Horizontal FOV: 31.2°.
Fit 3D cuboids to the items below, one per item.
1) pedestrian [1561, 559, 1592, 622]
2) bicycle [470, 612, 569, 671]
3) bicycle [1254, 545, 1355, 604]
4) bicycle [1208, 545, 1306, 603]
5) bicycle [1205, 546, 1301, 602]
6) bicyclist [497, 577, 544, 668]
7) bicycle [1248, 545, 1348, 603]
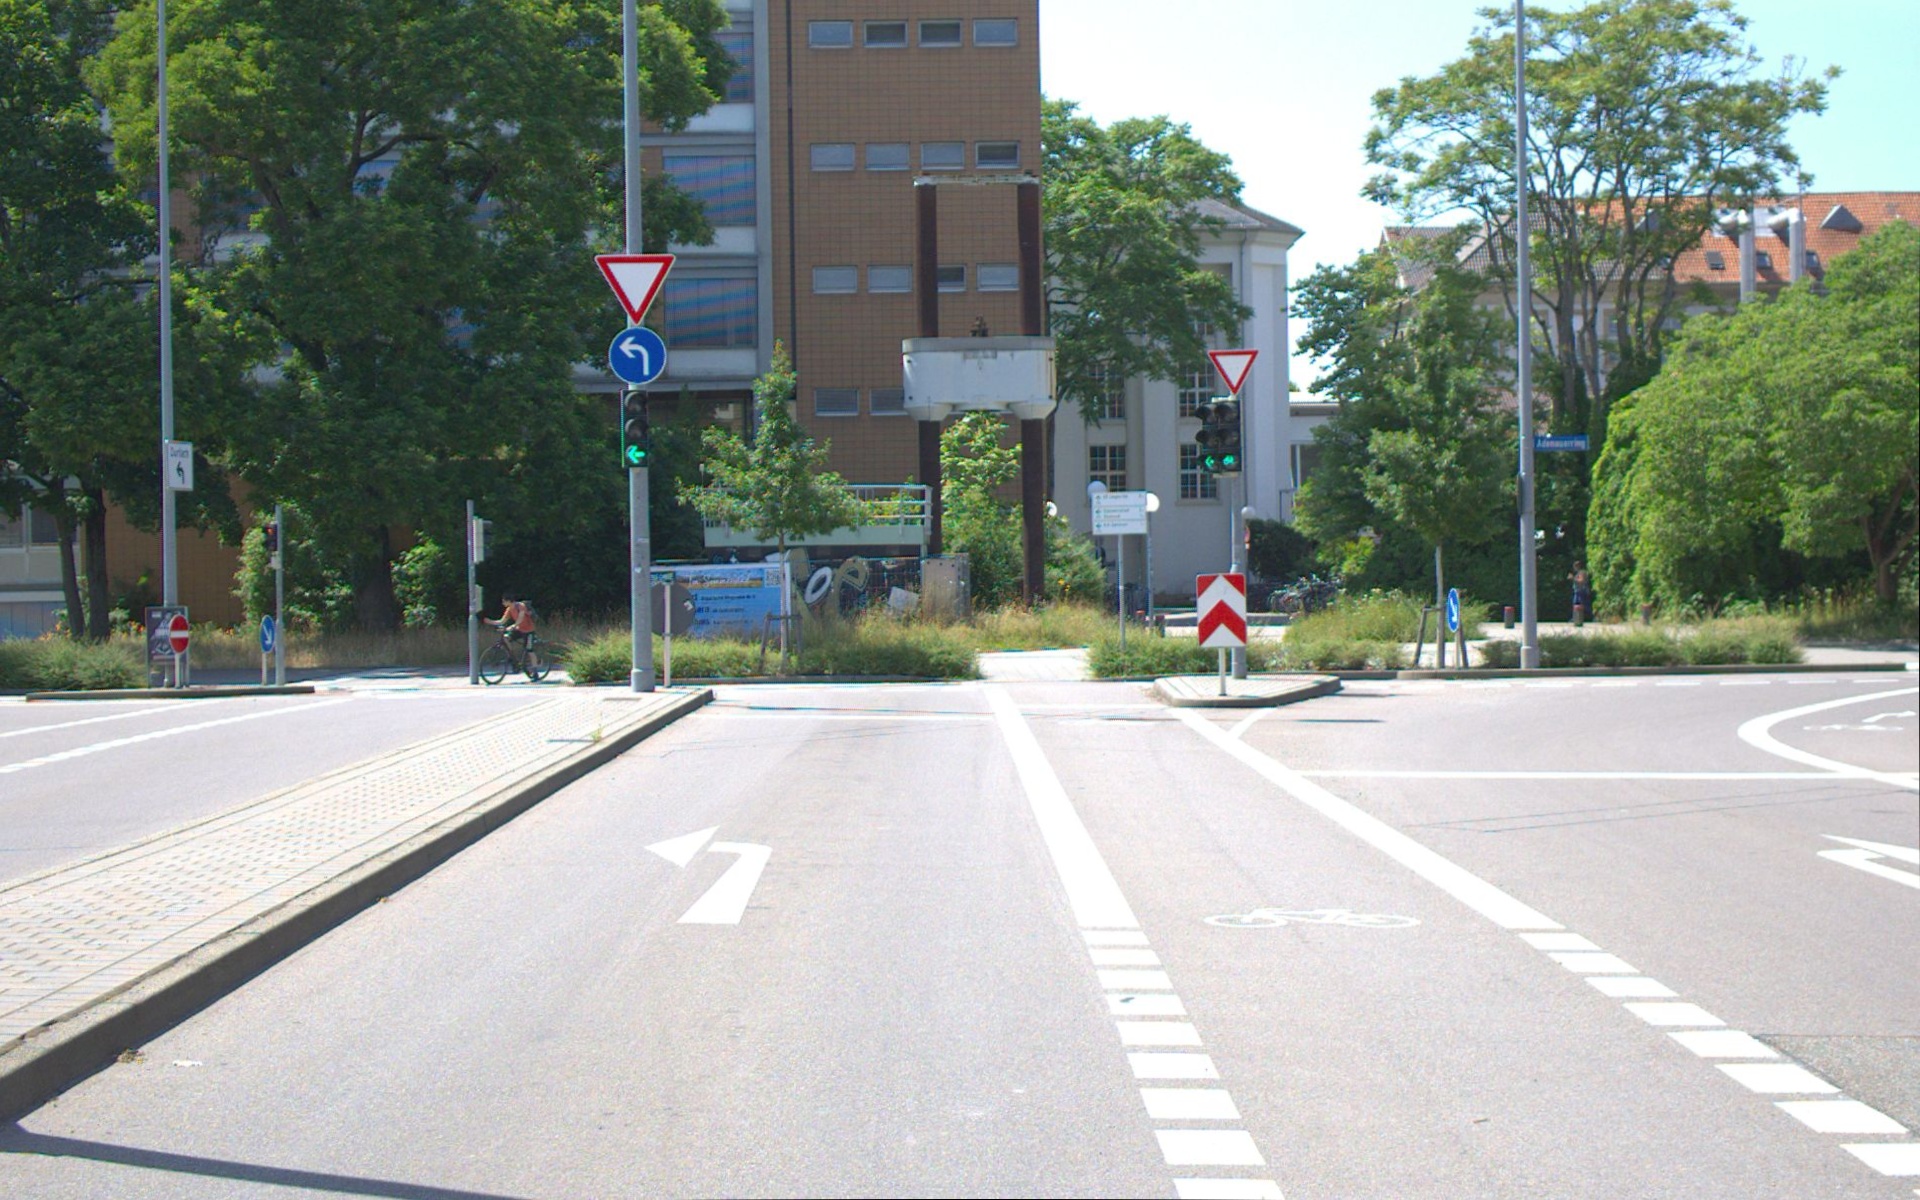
[{"bbox_3d":[16.315,-0.247,90.942,0.639,1.660,0.707,1,0,-1],"label":"pedestrian"},{"bbox_3d":[-8.412,0.793,65.768,0.558,1.042,1.992,1,2,41],"label":"bicycle"},{"bbox_3d":[12.168,-0.911,121.482,3.447,2.007,0.760,1,0,2],"label":"bicycle"},{"bbox_3d":[10.760,-0.949,124.639,3.447,2.007,0.760,1,0,2],"label":"bicycle"},{"bbox_3d":[10.800,-0.959,126.925,3.447,2.007,0.760,1,0,2],"label":"bicycle"},{"bbox_3d":[-8.403,0.434,65.769,0.551,1.710,0.701,1,2,41],"label":"bicyclist"},{"bbox_3d":[12.057,-0.931,122.660,3.447,2.007,0.760,1,0,2],"label":"bicycle"}]
